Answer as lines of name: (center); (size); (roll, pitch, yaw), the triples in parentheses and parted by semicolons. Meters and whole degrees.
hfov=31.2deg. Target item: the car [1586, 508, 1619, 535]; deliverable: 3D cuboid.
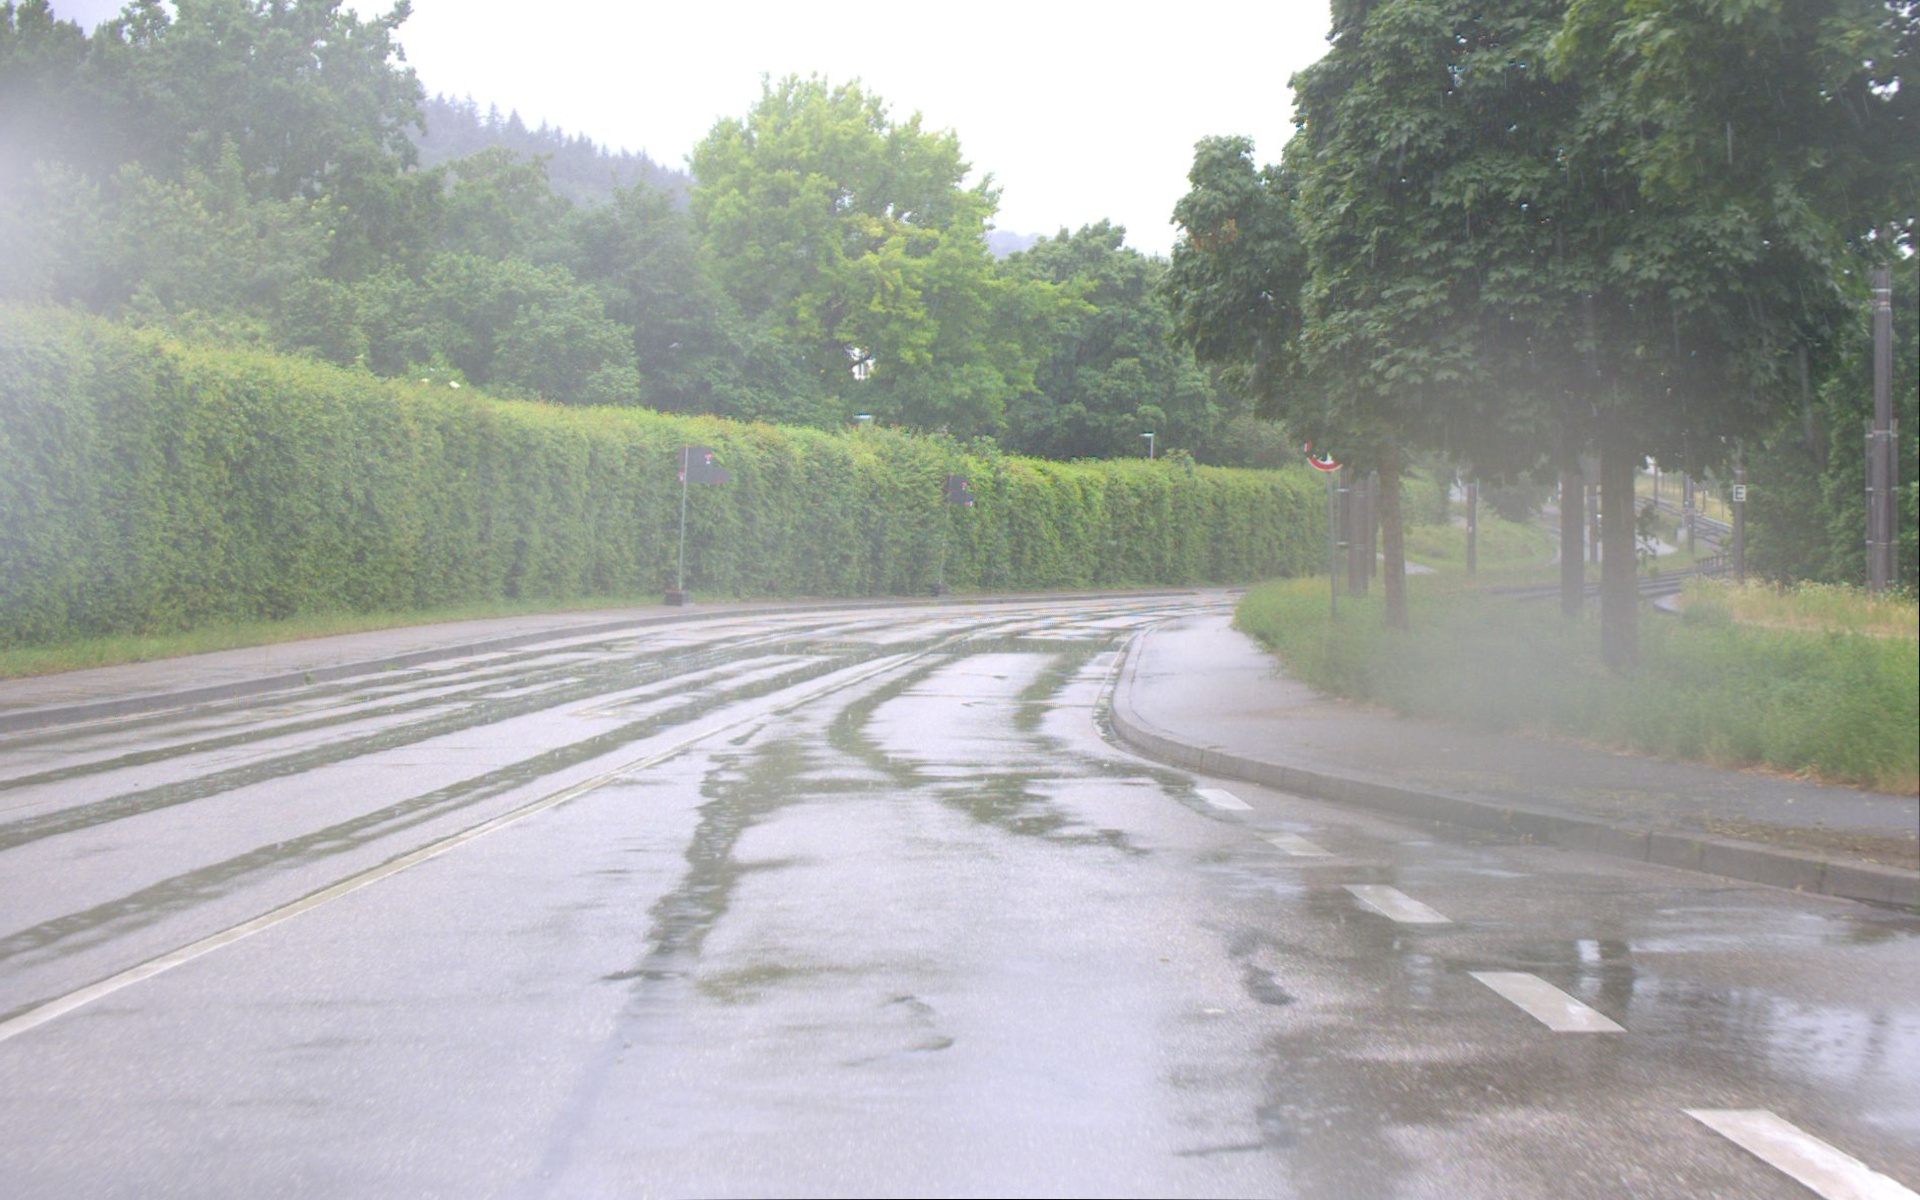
car: (45.965, -5.601, 245.857); (1.955, 1.897, 4.117); (0, 2, 16)
